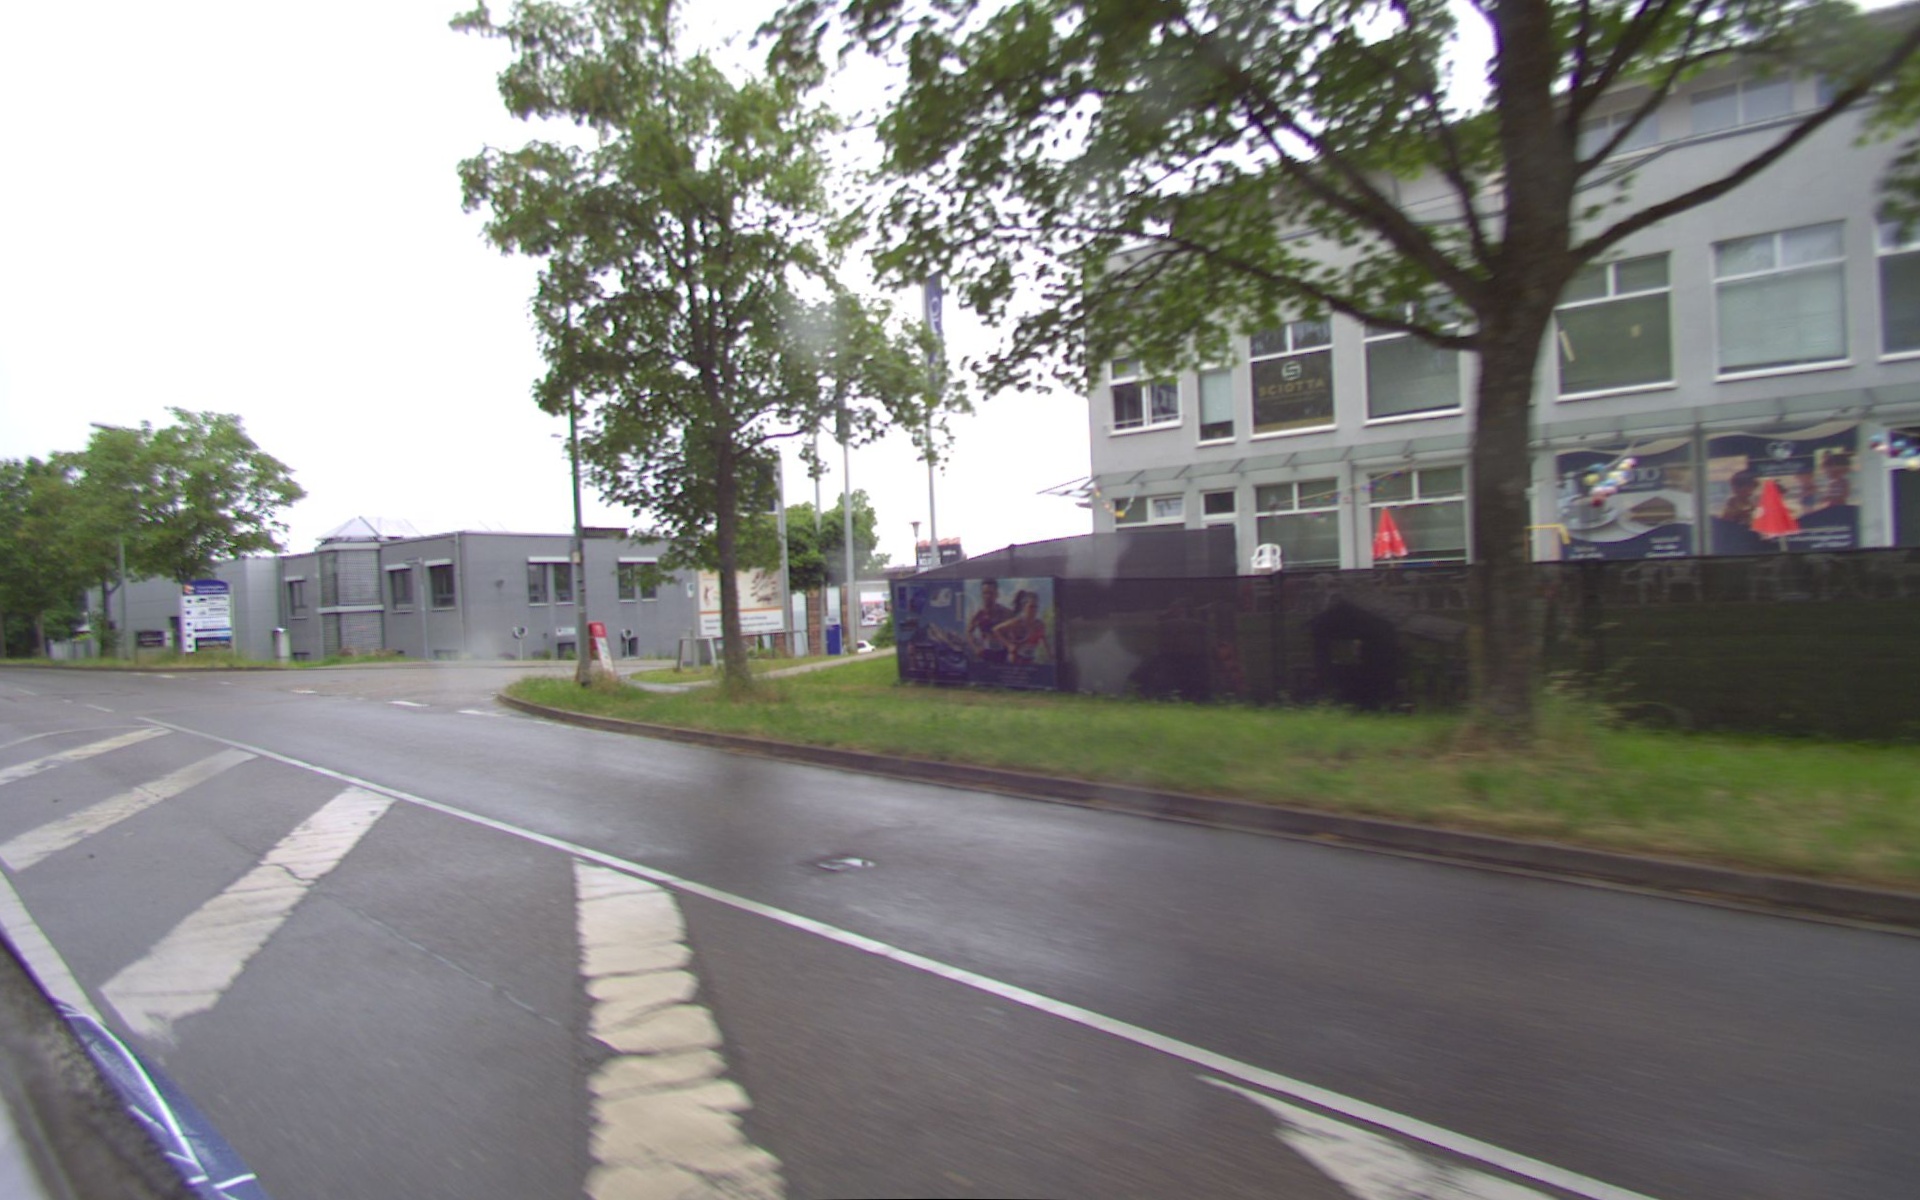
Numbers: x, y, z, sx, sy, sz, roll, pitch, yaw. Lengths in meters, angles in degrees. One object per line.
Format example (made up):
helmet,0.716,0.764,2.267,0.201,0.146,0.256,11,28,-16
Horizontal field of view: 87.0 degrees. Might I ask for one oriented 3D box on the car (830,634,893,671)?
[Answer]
car,-5.523,2.925,56.462,3.195,1.565,1.489,-13,-9,35
